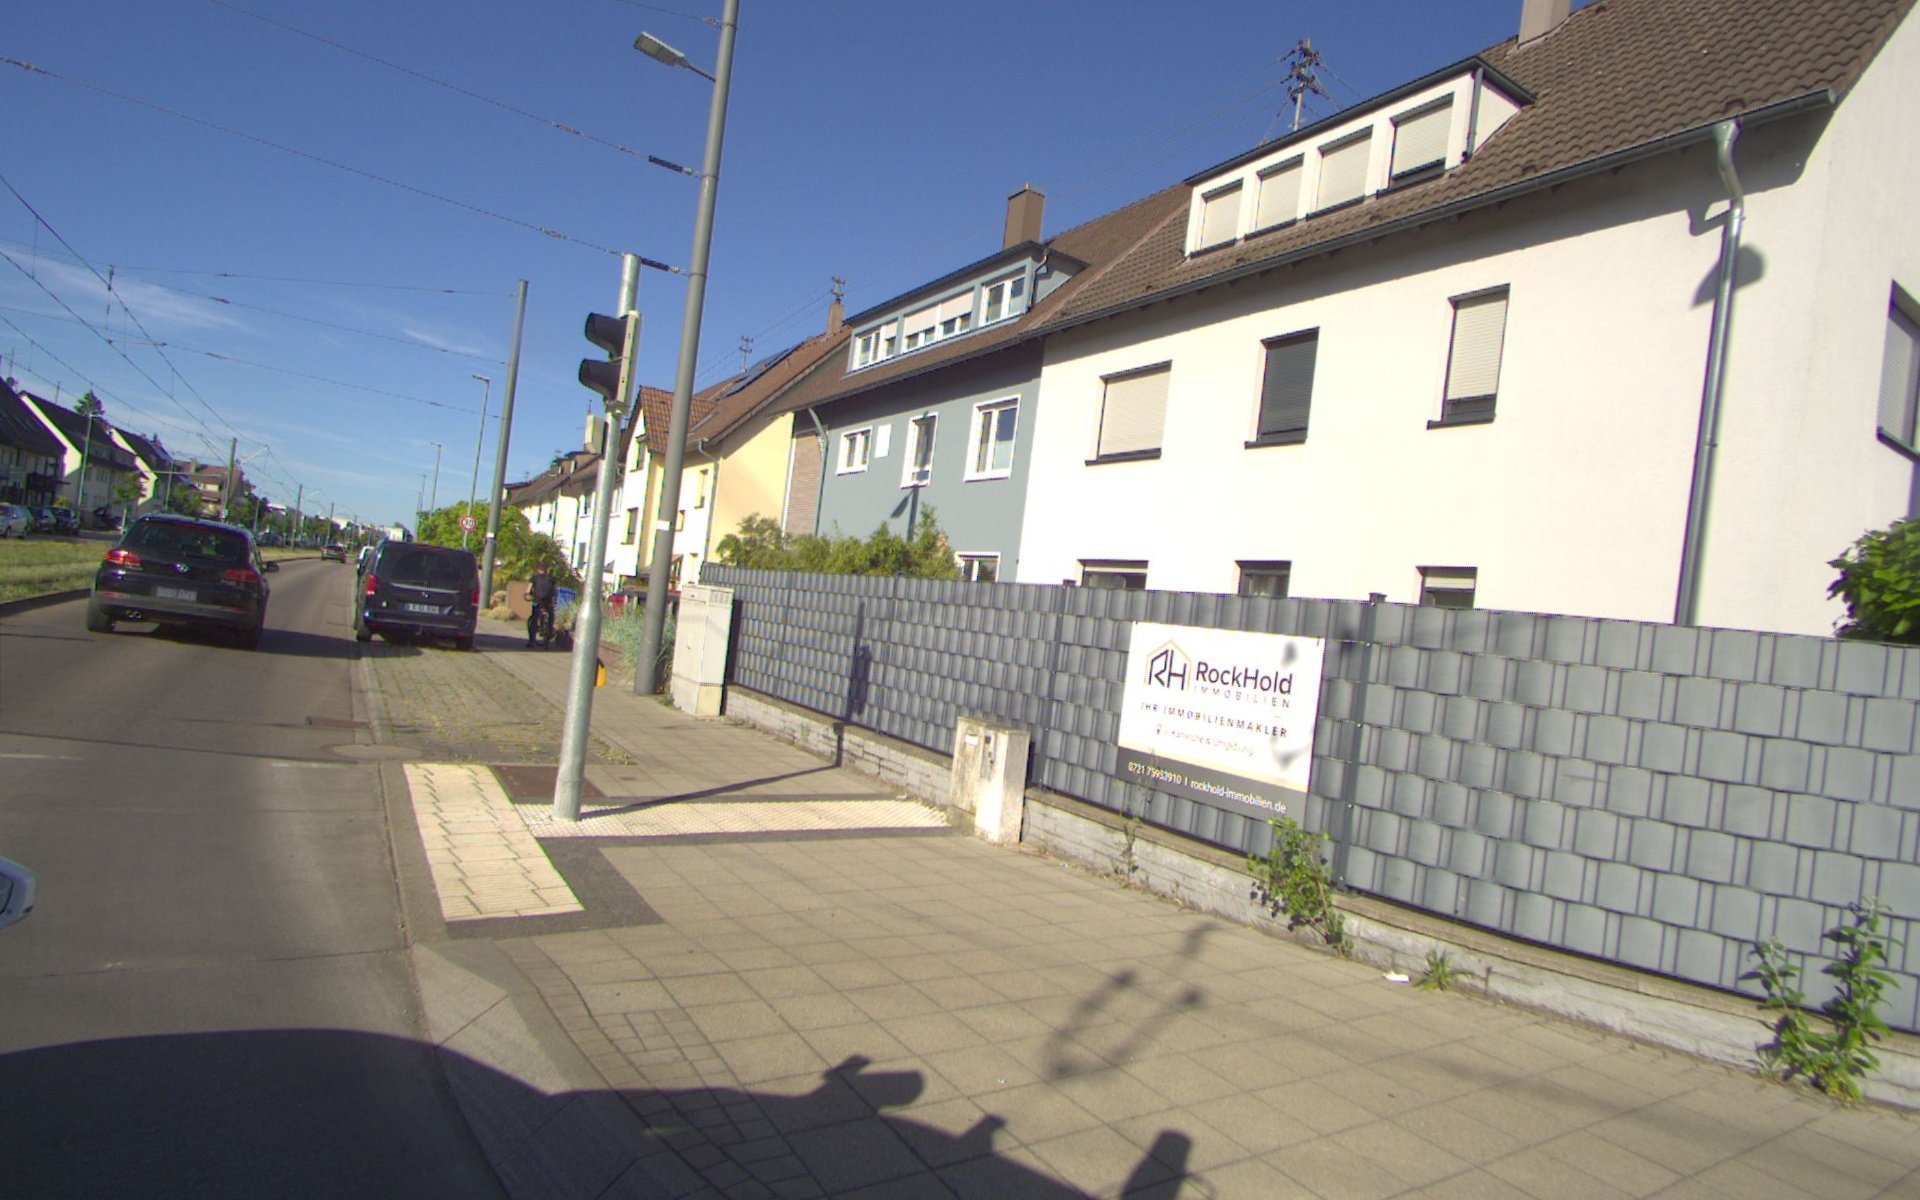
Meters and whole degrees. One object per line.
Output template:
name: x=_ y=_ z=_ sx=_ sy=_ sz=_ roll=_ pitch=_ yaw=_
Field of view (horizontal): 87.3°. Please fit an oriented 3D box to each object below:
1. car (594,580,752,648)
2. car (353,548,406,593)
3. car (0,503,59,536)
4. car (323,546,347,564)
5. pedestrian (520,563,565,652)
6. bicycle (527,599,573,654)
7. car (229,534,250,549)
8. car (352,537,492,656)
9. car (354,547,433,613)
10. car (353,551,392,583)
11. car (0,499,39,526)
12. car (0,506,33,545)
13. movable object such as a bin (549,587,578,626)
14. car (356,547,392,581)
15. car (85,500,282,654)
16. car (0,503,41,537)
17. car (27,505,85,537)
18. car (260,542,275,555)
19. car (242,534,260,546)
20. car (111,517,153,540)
car: x=-8.680 y=0.433 z=30.541 sx=4.138 sy=1.485 sz=1.883 roll=8 pitch=0 yaw=-33
car: x=-23.268 y=-1.200 z=40.373 sx=1.653 sy=1.566 sz=3.806 roll=6 pitch=0 yaw=-30
car: x=-52.728 y=-4.517 z=57.037 sx=1.509 sy=1.492 sz=4.168 roll=8 pitch=-1 yaw=-30
car: x=-55.416 y=-4.001 z=89.239 sx=1.561 sy=1.407 sz=3.586 roll=8 pitch=-1 yaw=-31
pedestrian: x=-8.562 y=0.148 z=20.612 sx=0.578 sy=1.744 sz=0.709 roll=7 pitch=0 yaw=-30
bicycle: x=-8.387 y=0.530 z=20.535 sx=0.596 sy=0.991 sz=1.550 roll=6 pitch=-1 yaw=-29
car: x=-93.781 y=-7.590 z=130.949 sx=1.648 sy=1.599 sz=3.972 roll=8 pitch=-3 yaw=-30
car: x=-10.619 y=-0.131 z=19.655 sx=1.948 sy=1.858 sz=4.887 roll=8 pitch=-2 yaw=-32
car: x=-17.741 y=-0.671 z=31.403 sx=1.841 sy=1.679 sz=4.437 roll=8 pitch=-1 yaw=-32
car: x=-32.693 y=-1.849 z=55.999 sx=1.659 sy=1.470 sz=4.094 roll=8 pitch=-2 yaw=-31
car: x=-67.509 y=-6.314 z=70.436 sx=4.142 sy=1.635 sz=1.743 roll=9 pitch=-1 yaw=-35
car: x=-38.601 y=-3.050 z=40.126 sx=1.538 sy=1.428 sz=3.631 roll=8 pitch=-1 yaw=-30
movable object such as a bin: x=-12.068 y=0.197 z=30.614 sx=0.663 sy=1.128 sz=0.315 roll=6 pitch=0 yaw=-31
car: x=-35.413 y=-2.195 z=60.831 sx=1.677 sy=1.798 sz=4.620 roll=8 pitch=-1 yaw=-30
car: x=-11.179 y=-0.358 z=14.556 sx=1.805 sy=1.689 sz=4.214 roll=10 pitch=-3 yaw=-38
car: x=-50.128 y=-4.292 z=52.549 sx=1.862 sy=1.540 sz=4.847 roll=9 pitch=-2 yaw=-28
car: x=-55.453 y=-4.835 z=61.778 sx=1.792 sy=1.616 sz=4.769 roll=8 pitch=-1 yaw=-34
car: x=-104.106 y=-7.676 z=151.146 sx=1.454 sy=1.696 sz=3.263 roll=8 pitch=-2 yaw=-30
car: x=-95.794 y=-8.096 z=135.945 sx=1.505 sy=1.377 sz=3.561 roll=8 pitch=-1 yaw=-31
car: x=-65.979 y=-5.667 z=80.220 sx=1.604 sy=1.470 sz=3.694 roll=7 pitch=-1 yaw=-26
